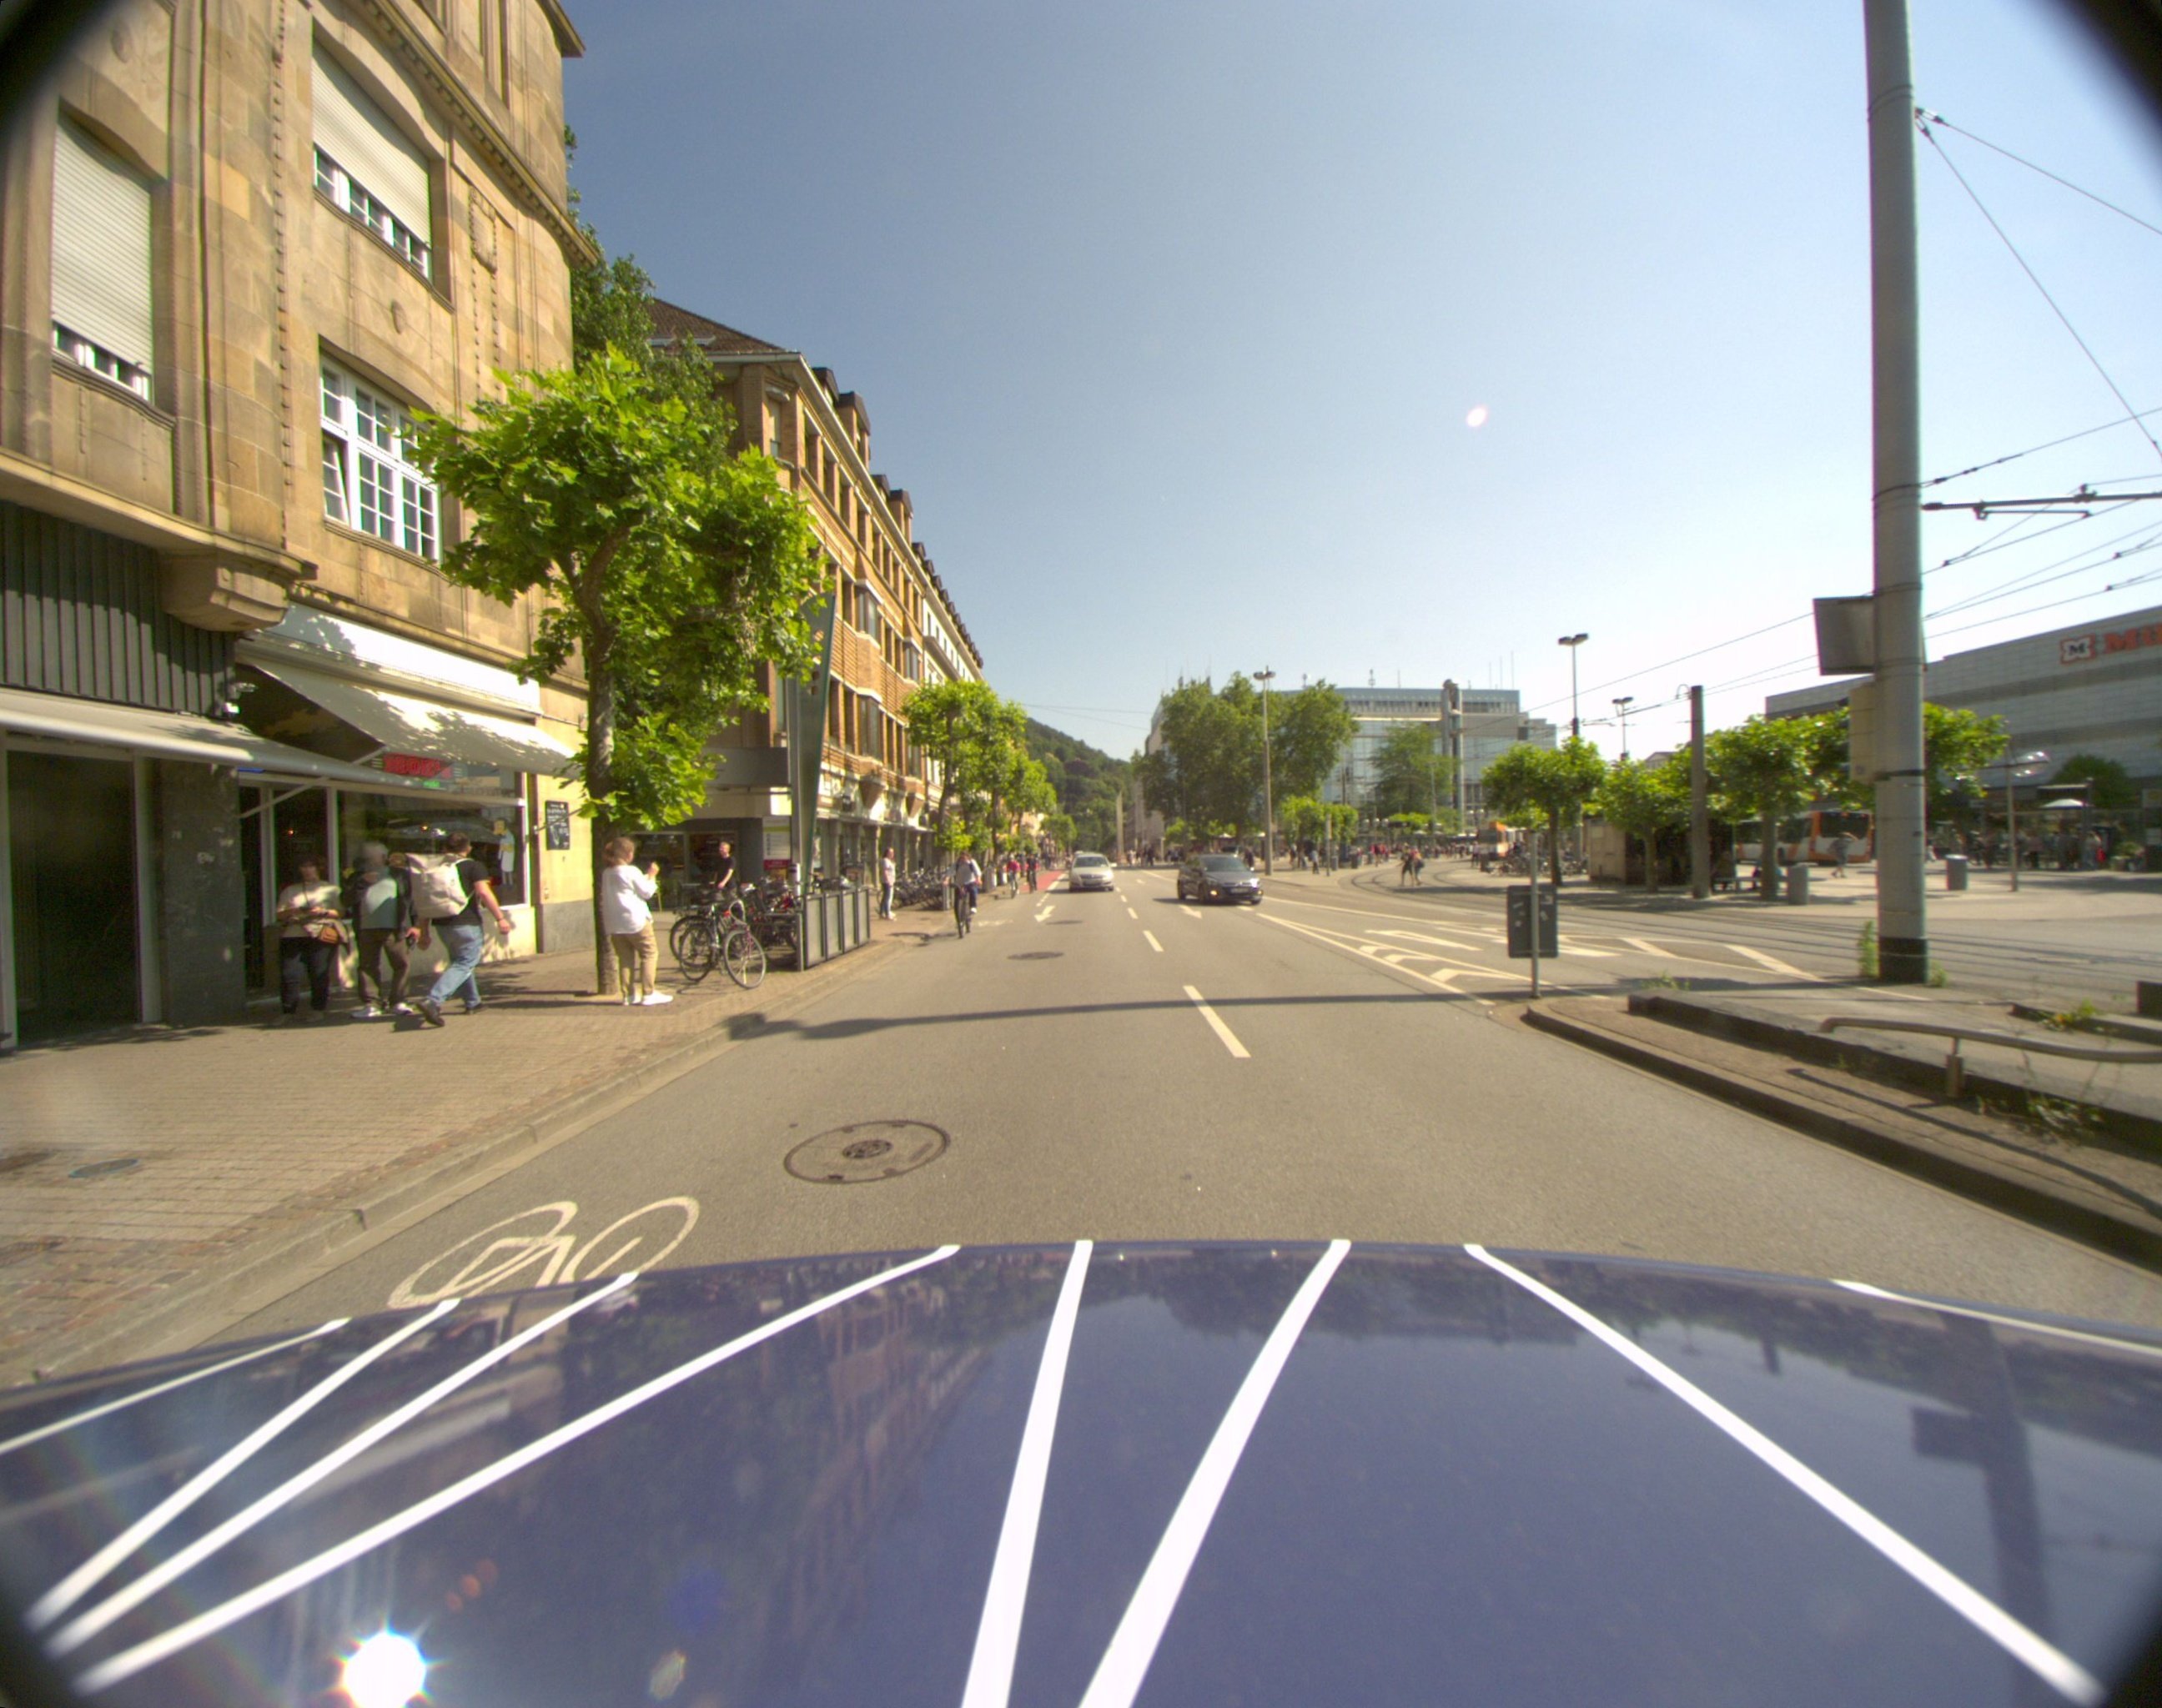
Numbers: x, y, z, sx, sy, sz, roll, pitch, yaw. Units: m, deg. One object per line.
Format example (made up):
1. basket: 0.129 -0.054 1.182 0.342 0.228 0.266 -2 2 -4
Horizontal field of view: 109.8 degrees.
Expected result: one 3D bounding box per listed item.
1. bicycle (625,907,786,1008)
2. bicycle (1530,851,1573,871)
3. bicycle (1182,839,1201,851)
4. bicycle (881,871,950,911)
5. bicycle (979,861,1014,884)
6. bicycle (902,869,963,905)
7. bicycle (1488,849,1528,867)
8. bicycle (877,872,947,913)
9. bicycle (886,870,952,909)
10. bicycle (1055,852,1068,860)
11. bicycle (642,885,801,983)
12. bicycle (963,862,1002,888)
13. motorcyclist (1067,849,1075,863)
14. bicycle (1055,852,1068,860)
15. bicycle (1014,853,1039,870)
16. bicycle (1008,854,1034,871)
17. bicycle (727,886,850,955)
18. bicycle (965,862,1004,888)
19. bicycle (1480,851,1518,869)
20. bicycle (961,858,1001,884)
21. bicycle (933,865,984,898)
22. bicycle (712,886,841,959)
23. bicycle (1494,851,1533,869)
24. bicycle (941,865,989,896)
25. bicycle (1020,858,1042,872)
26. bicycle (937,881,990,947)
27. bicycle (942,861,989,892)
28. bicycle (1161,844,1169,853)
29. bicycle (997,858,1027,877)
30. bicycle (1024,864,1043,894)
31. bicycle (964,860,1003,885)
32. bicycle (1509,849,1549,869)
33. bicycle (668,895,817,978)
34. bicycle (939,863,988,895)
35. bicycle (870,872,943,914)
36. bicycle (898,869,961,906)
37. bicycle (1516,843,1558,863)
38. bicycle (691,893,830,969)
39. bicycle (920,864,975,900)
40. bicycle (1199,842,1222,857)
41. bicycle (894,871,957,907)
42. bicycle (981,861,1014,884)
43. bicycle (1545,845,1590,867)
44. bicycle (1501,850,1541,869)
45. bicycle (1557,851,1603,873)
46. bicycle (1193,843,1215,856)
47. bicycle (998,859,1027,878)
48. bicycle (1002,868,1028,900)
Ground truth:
1. bicycle: -4.311 1.147 8.717 1.754 1.012 0.658 -1 1 25
2. bicycle: 22.941 0.331 37.019 1.871 0.864 0.581 -4 1 -12
3. bicycle: 10.468 -0.855 72.039 1.757 1.140 0.483 -2 1 -2
4. bicycle: -4.530 1.022 20.902 1.757 1.012 0.483 -2 1 -2
5. bicycle: -4.531 1.003 40.812 1.757 1.140 0.483 -2 1 -2
6. bicycle: -4.557 1.011 23.441 1.757 1.012 0.483 -2 1 -2
7. bicycle: 22.503 0.214 40.040 1.871 0.867 0.582 -4 1 -12
8. bicycle: -4.519 1.014 20.376 1.757 1.012 0.483 -2 1 -2
9. bicycle: -4.609 1.007 21.664 1.757 1.012 0.483 -2 1 -2
10. bicycle: -2.836 0.317 110.085 1.757 1.140 0.592 -2 1 -2
11. bicycle: -4.645 1.023 9.885 1.757 1.174 0.579 -1 1 -2
12. bicycle: -4.563 0.976 35.262 1.757 1.140 0.483 -2 1 -2
13. motorcyclist: -1.065 0.256 80.724 0.736 1.446 0.707 -3 1 1
14. bicycle: -2.776 0.285 109.237 1.757 1.140 0.592 -2 1 -2
15. bicycle: -3.989 0.563 56.060 1.757 1.140 0.592 -2 1 -2
16. bicycle: -4.199 0.596 53.392 1.778 1.140 0.483 -2 1 -2
17. bicycle: -4.734 1.072 12.349 1.757 1.012 0.483 -2 1 -2
18. bicycle: -4.620 0.995 36.367 1.757 1.140 0.499 -2 1 -2
19. bicycle: 22.440 0.306 40.775 1.871 0.851 0.546 -4 1 -12
20. bicycle: -4.571 0.773 34.747 1.757 1.140 0.483 -2 1 -2
21. bicycle: -4.530 1.004 28.169 1.757 1.140 0.483 -2 1 -2
22. bicycle: -4.686 1.049 11.745 1.757 1.012 0.483 -2 1 -2
23. bicycle: 22.527 0.304 39.559 1.871 0.851 0.546 -4 1 -12
24. bicycle: -4.524 1.038 29.582 1.757 1.140 0.483 -2 1 -2
25. bicycle: -4.083 0.897 62.553 1.757 1.140 0.592 -2 1 -2
26. bicycle: -2.292 1.146 15.055 0.736 1.086 1.897 -3 1 -1
27. bicycle: -4.559 0.872 30.080 1.757 1.140 0.483 -2 1 -2
28. bicycle: 11.460 -0.764 104.000 0.729 1.137 1.914 -3 1 14
29. bicycle: -4.244 0.836 46.798 1.757 1.062 0.483 -2 1 -2
30. bicycle: -1.900 0.992 30.559 0.667 1.086 1.897 -3 1 -2
31. bicycle: -4.597 0.869 35.774 1.757 1.140 0.483 -2 1 -2
32. bicycle: 22.699 0.247 38.486 1.871 0.851 0.546 -4 1 -12
33. bicycle: -4.627 1.119 10.466 1.757 1.012 0.557 -2 1 -2
34. bicycle: -4.495 0.966 29.113 1.757 1.140 0.483 -2 1 -2
35. bicycle: -4.546 1.004 19.845 1.757 1.012 0.483 -2 1 -2
36. bicycle: -4.548 0.999 22.898 1.757 1.012 0.483 -2 1 -2
37. bicycle: 22.764 -0.061 37.931 1.871 0.851 0.546 -4 1 -12
38. bicycle: -4.659 1.117 11.109 1.757 1.012 0.587 -1 1 -2
39. bicycle: -4.528 0.958 25.782 1.757 1.140 0.483 -2 1 -2
40. bicycle: 10.875 -0.379 63.869 1.865 1.140 0.483 -2 1 -2
41. bicycle: -4.541 1.017 22.275 1.721 0.979 0.483 -2 1 -2
42. bicycle: -4.537 0.996 41.368 1.757 1.140 0.527 -2 1 -2
43. bicycle: 22.666 0.090 35.380 1.871 0.864 0.581 -4 1 -12
44. bicycle: 22.623 0.265 39.064 1.871 0.851 0.546 -4 1 -12
45. bicycle: 22.832 0.368 34.787 1.871 0.864 0.581 -4 1 -12
46. bicycle: 10.721 -0.402 66.302 1.757 1.140 0.483 -2 1 -2
47. bicycle: -4.282 0.916 47.347 1.757 1.140 0.483 -2 1 -2
48. bicycle: -2.378 1.069 27.588 0.736 1.086 1.819 -3 0 -1
